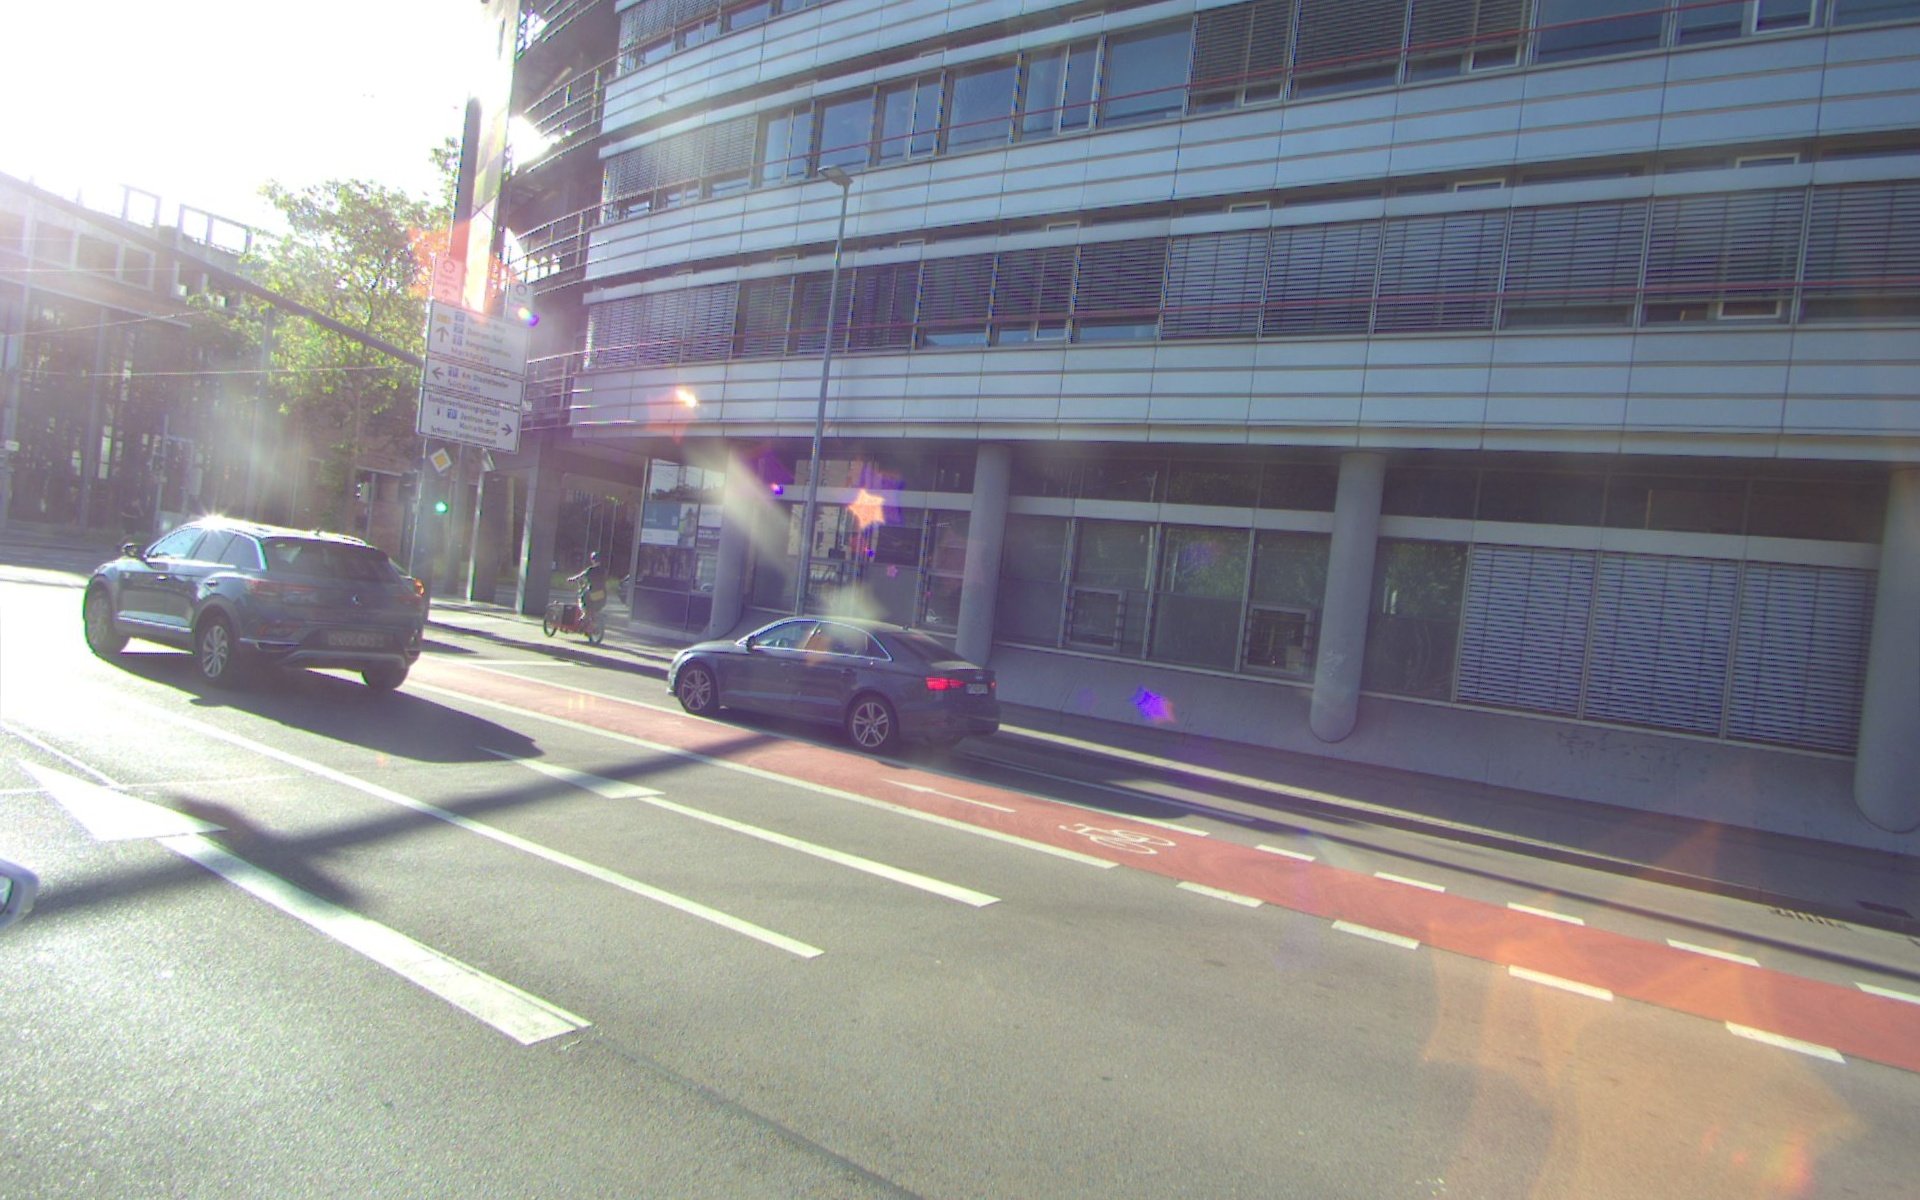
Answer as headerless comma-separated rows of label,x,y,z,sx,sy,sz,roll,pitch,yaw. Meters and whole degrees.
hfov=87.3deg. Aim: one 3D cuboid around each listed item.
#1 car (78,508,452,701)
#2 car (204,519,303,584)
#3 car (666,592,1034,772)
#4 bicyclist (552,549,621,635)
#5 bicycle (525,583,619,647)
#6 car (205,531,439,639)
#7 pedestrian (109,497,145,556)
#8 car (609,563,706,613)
car,-7.401,0.012,10.644,3.815,1.523,1.747,7,0,31
car,-21.508,-1.467,30.773,1.673,1.648,4.434,7,-1,-26
car,-1.366,0.895,12.066,4.041,1.459,1.713,7,0,29
bicyclist,-7.431,-0.156,19.999,1.025,1.586,0.625,7,1,29
bicycle,-7.798,0.284,20.189,2.170,1.045,0.499,7,0,33
car,-11.746,-0.297,18.445,4.414,1.448,1.753,7,0,31
pedestrian,-27.048,-2.382,32.685,0.701,1.781,0.556,6,1,-33
car,-13.451,-0.506,45.014,1.832,1.670,4.000,7,-2,24
